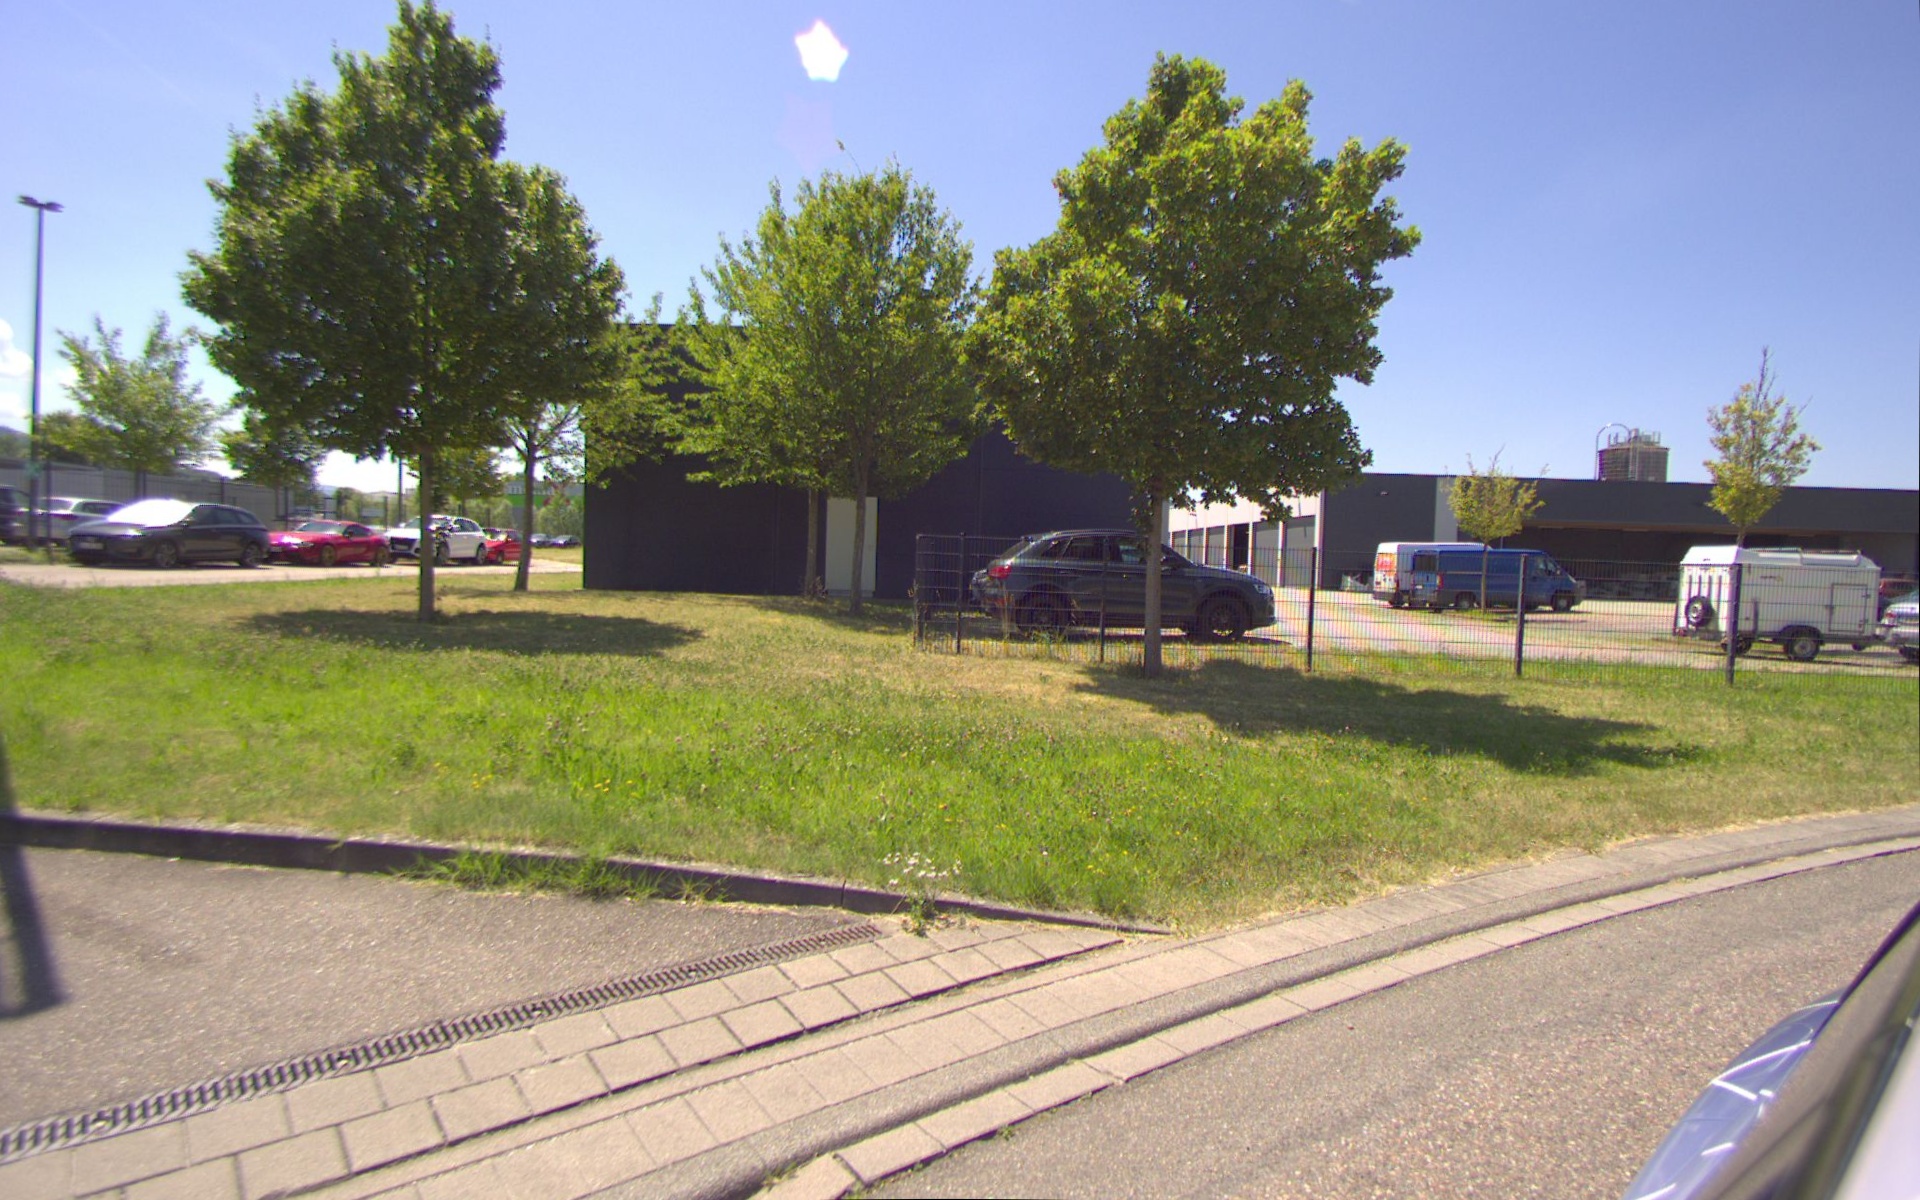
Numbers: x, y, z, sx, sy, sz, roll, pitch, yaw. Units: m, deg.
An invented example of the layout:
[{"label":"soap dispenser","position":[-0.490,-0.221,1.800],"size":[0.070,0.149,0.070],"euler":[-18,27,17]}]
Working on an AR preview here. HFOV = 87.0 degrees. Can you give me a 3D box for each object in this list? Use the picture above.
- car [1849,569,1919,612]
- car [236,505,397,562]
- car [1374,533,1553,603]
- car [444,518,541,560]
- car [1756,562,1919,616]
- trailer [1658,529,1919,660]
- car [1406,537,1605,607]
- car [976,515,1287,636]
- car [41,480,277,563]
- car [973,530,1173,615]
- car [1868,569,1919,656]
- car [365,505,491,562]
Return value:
[{"label":"car","position":[36.102,-0.333,37.878],"size":[3.853,1.517,1.855],"euler":[2,2,2]},{"label":"car","position":[-17.788,-1.815,28.225],"size":[1.747,1.373,4.173],"euler":[3,3,1]},{"label":"car","position":[18.761,-1.189,37.902],"size":[5.569,2.487,2.197],"euler":[-1,1,-1]},{"label":"car","position":[-18.115,-2.363,39.422],"size":[1.791,1.458,4.113],"euler":[3,3,1]},{"label":"car","position":[30.551,-0.396,35.116],"size":[4.175,1.651,1.967],"euler":[2,2,2]},{"label":"trailer","position":[15.002,-0.109,18.024],"size":[3.669,2.023,1.855],"euler":[3,2,1]},{"label":"car","position":[18.834,-1.004,35.131],"size":[5.721,2.251,2.146],"euler":[-1,3,-1]},{"label":"car","position":[2.372,-0.383,14.834],"size":[4.201,1.621,1.782],"euler":[1,3,-1]},{"label":"car","position":[-17.727,-1.699,22.713],"size":[1.747,1.585,4.407],"euler":[3,3,1]},{"label":"car","position":[2.385,-0.627,22.201],"size":[4.092,1.585,1.782],"euler":[3,3,-1]},{"label":"car","position":[19.279,0.199,17.849],"size":[4.765,1.517,1.855],"euler":[-1,2,1]},{"label":"car","position":[-17.656,-2.185,33.840],"size":[1.791,1.666,4.397],"euler":[3,3,1]}]
